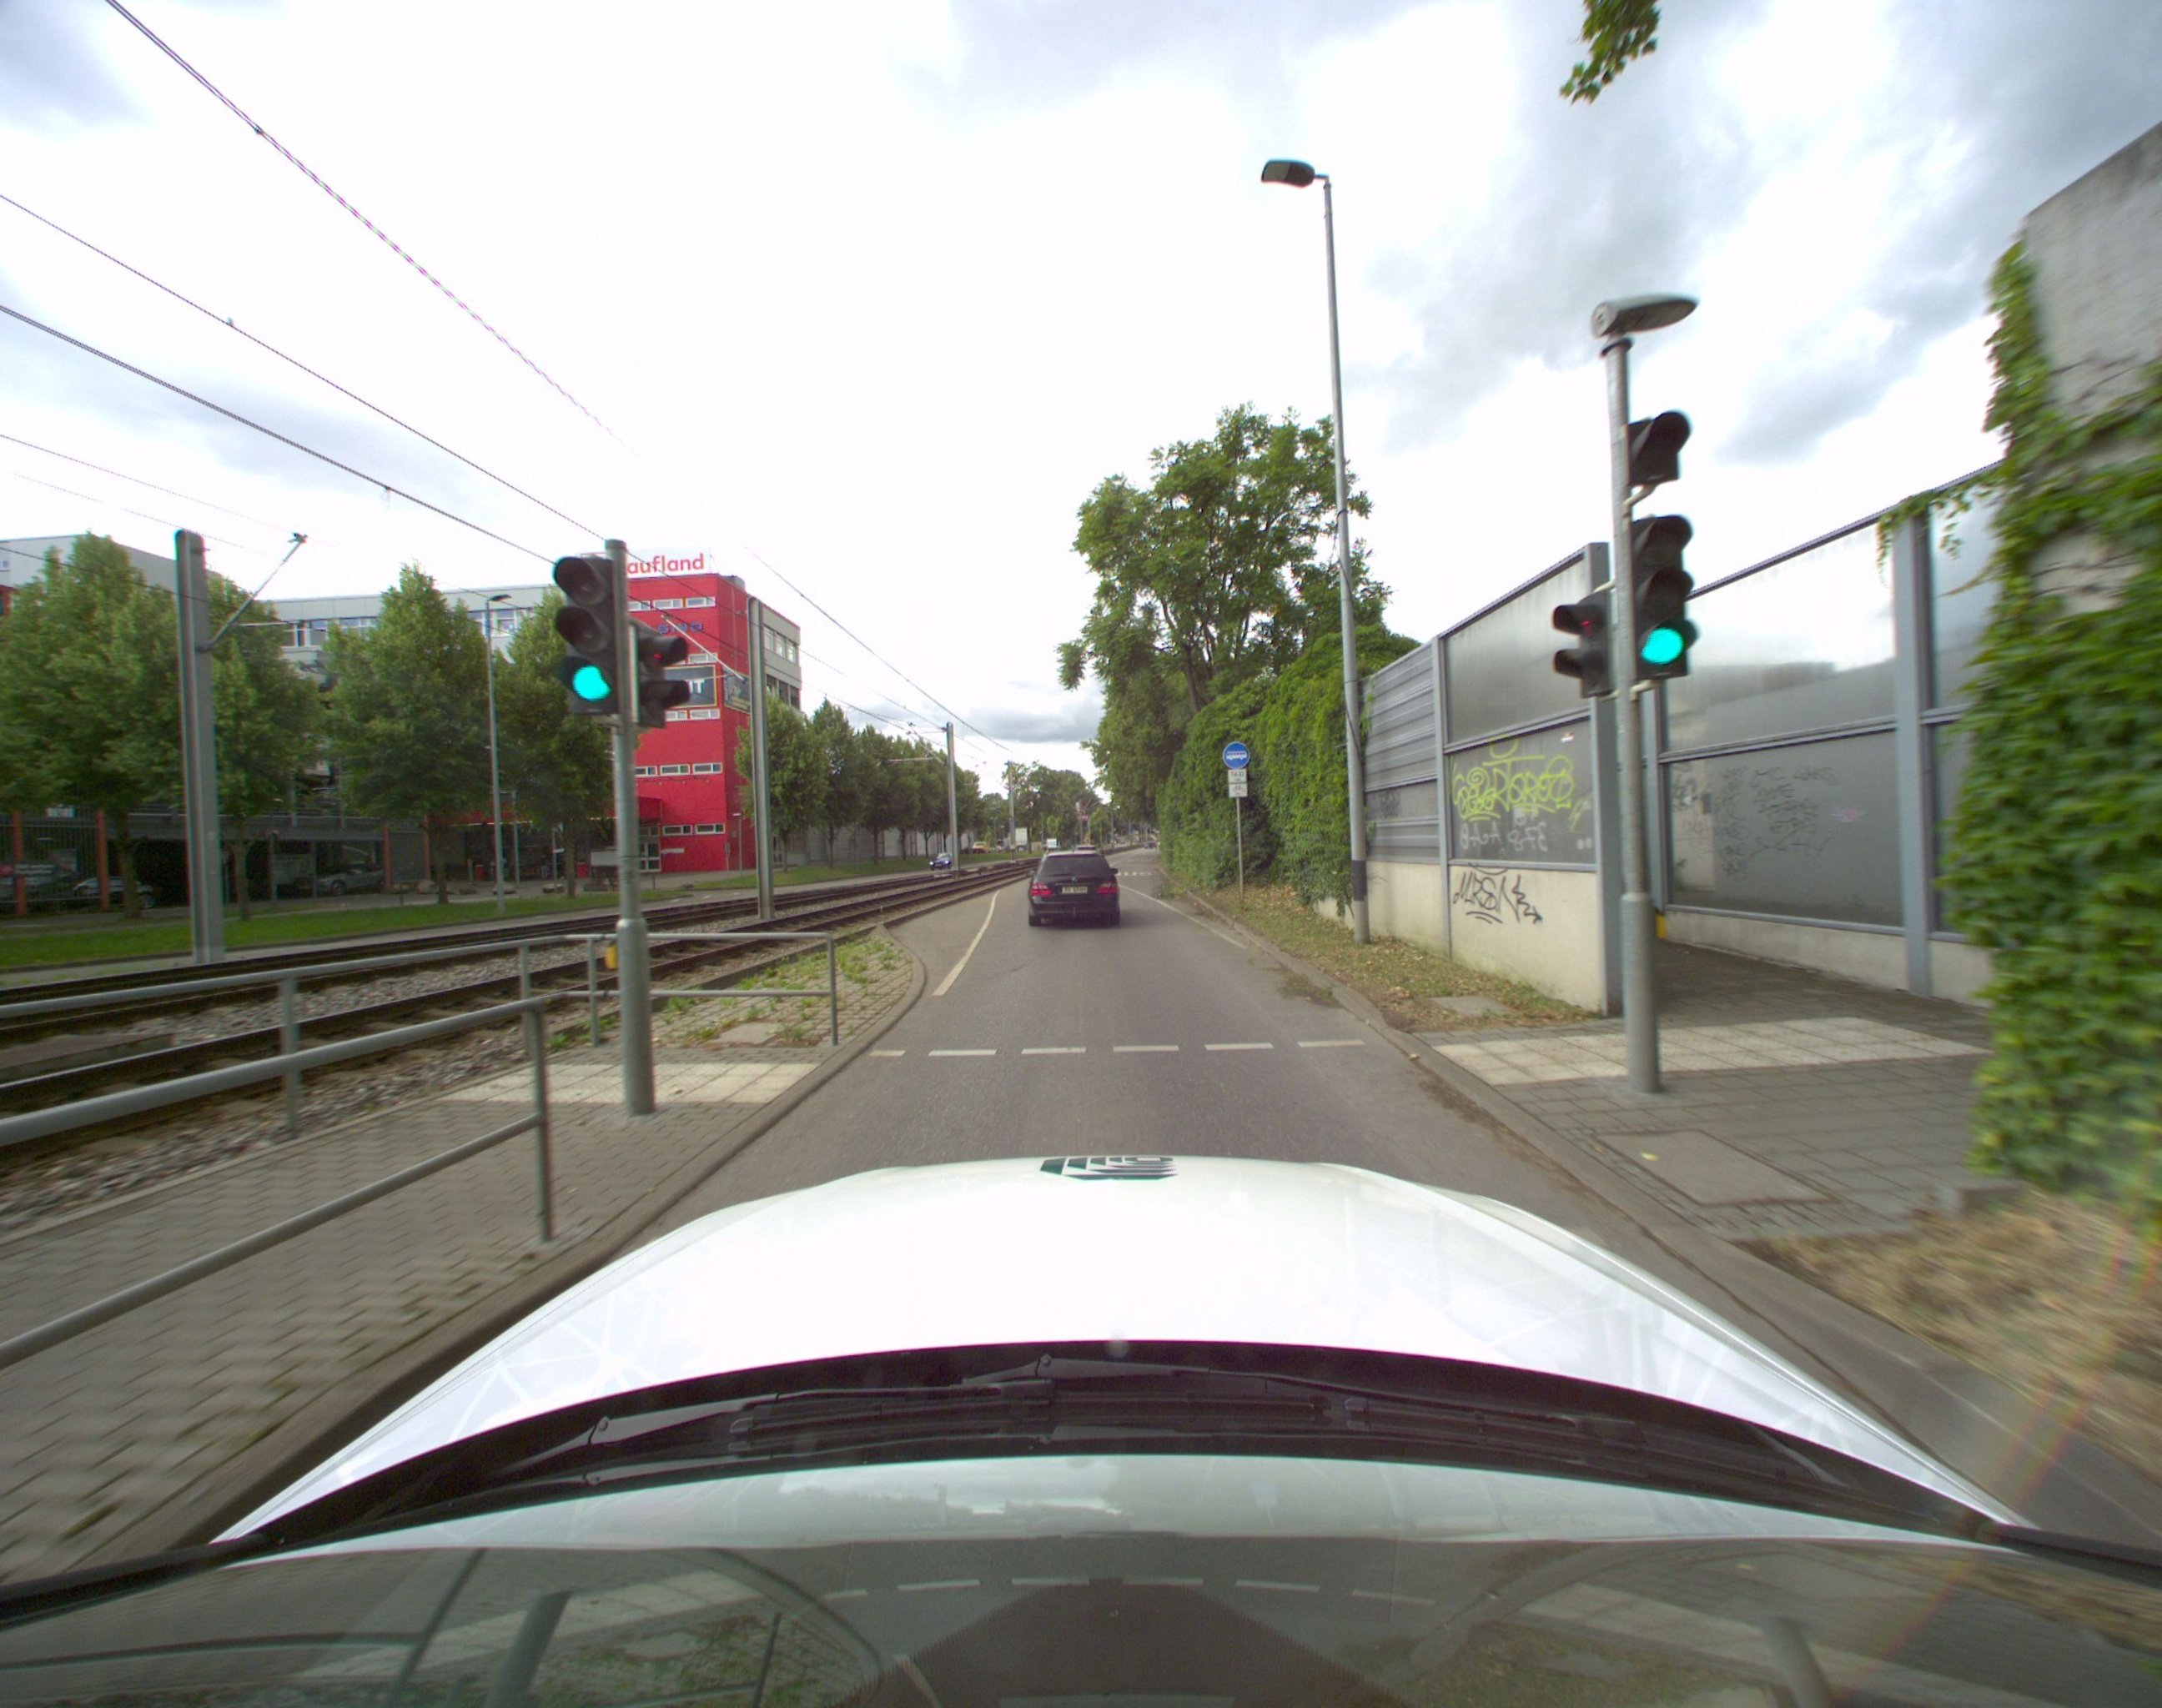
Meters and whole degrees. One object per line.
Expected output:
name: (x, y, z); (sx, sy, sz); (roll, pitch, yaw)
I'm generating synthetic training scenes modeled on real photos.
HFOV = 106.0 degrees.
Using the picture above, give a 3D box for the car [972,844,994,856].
car: (-15.000, -0.631, 124.850); (1.983, 1.743, 4.997); (-3, 0, 7)

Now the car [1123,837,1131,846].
car: (10.655, -2.861, 188.924); (1.884, 2.013, 3.901); (-4, 0, 3)

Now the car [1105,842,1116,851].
car: (5.281, -1.290, 144.287); (1.817, 1.530, 3.991); (-2, 1, 4)

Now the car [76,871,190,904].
car: (-50.191, 1.738, 43.236); (1.667, 1.552, 3.676); (-2, 0, 1)

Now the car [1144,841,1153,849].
car: (13.955, -1.800, 168.640); (1.817, 1.530, 4.422); (-2, 1, 4)

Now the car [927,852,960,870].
car: (-11.640, 0.564, 69.185); (1.650, 1.393, 3.727); (-2, 0, 8)

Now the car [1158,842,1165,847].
car: (21.999, -2.575, 221.716); (1.817, 1.530, 4.185); (-2, 1, 4)

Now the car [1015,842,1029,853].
car: (-11.244, -1.230, 155.263); (1.986, 2.013, 4.003); (-4, 0, 3)

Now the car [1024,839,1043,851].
car: (-10.294, -1.951, 175.858); (3.977, 2.123, 1.998); (-4, 0, -2)

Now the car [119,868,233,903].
car: (-47.790, 1.641, 43.129); (1.667, 1.552, 3.812); (-4, 0, 1)

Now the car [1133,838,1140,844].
car: (15.470, -3.711, 226.300); (1.817, 1.530, 4.185); (-2, 1, 4)

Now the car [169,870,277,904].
car: (-45.480, 1.709, 43.282); (1.761, 1.552, 3.641); (-4, 0, 1)

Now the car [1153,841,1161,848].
car: (16.912, -2.088, 180.936); (1.817, 1.530, 4.185); (-2, 1, 4)

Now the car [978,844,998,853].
car: (-20.615, -1.259, 180.206); (3.991, 1.680, 1.992); (-4, 0, -12)

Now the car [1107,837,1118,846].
car: (5.760, -2.225, 149.049); (1.817, 1.530, 3.991); (-2, 1, 4)

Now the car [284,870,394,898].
car: (-38.478, 1.523, 42.388); (1.449, 1.226, 4.453); (-2, 0, 3)

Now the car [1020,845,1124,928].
car: (-0.045, 0.574, 17.119); (1.825, 1.478, 4.420); (-2, 0, 4)

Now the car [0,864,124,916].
car: (-41.336, 1.414, 31.925); (1.666, 1.888, 4.872); (-2, 0, 3)

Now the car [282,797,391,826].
car: (-38.613, -2.174, 42.409); (1.430, 1.226, 4.453); (-2, 0, 3)

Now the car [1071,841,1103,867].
car: (0.426, -0.022, 50.532); (1.818, 1.530, 4.419); (-2, 1, 2)

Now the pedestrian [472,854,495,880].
pedestrian: (-39.934, 0.884, 54.436); (0.734, 1.694, 0.867); (-4, 0, 2)
